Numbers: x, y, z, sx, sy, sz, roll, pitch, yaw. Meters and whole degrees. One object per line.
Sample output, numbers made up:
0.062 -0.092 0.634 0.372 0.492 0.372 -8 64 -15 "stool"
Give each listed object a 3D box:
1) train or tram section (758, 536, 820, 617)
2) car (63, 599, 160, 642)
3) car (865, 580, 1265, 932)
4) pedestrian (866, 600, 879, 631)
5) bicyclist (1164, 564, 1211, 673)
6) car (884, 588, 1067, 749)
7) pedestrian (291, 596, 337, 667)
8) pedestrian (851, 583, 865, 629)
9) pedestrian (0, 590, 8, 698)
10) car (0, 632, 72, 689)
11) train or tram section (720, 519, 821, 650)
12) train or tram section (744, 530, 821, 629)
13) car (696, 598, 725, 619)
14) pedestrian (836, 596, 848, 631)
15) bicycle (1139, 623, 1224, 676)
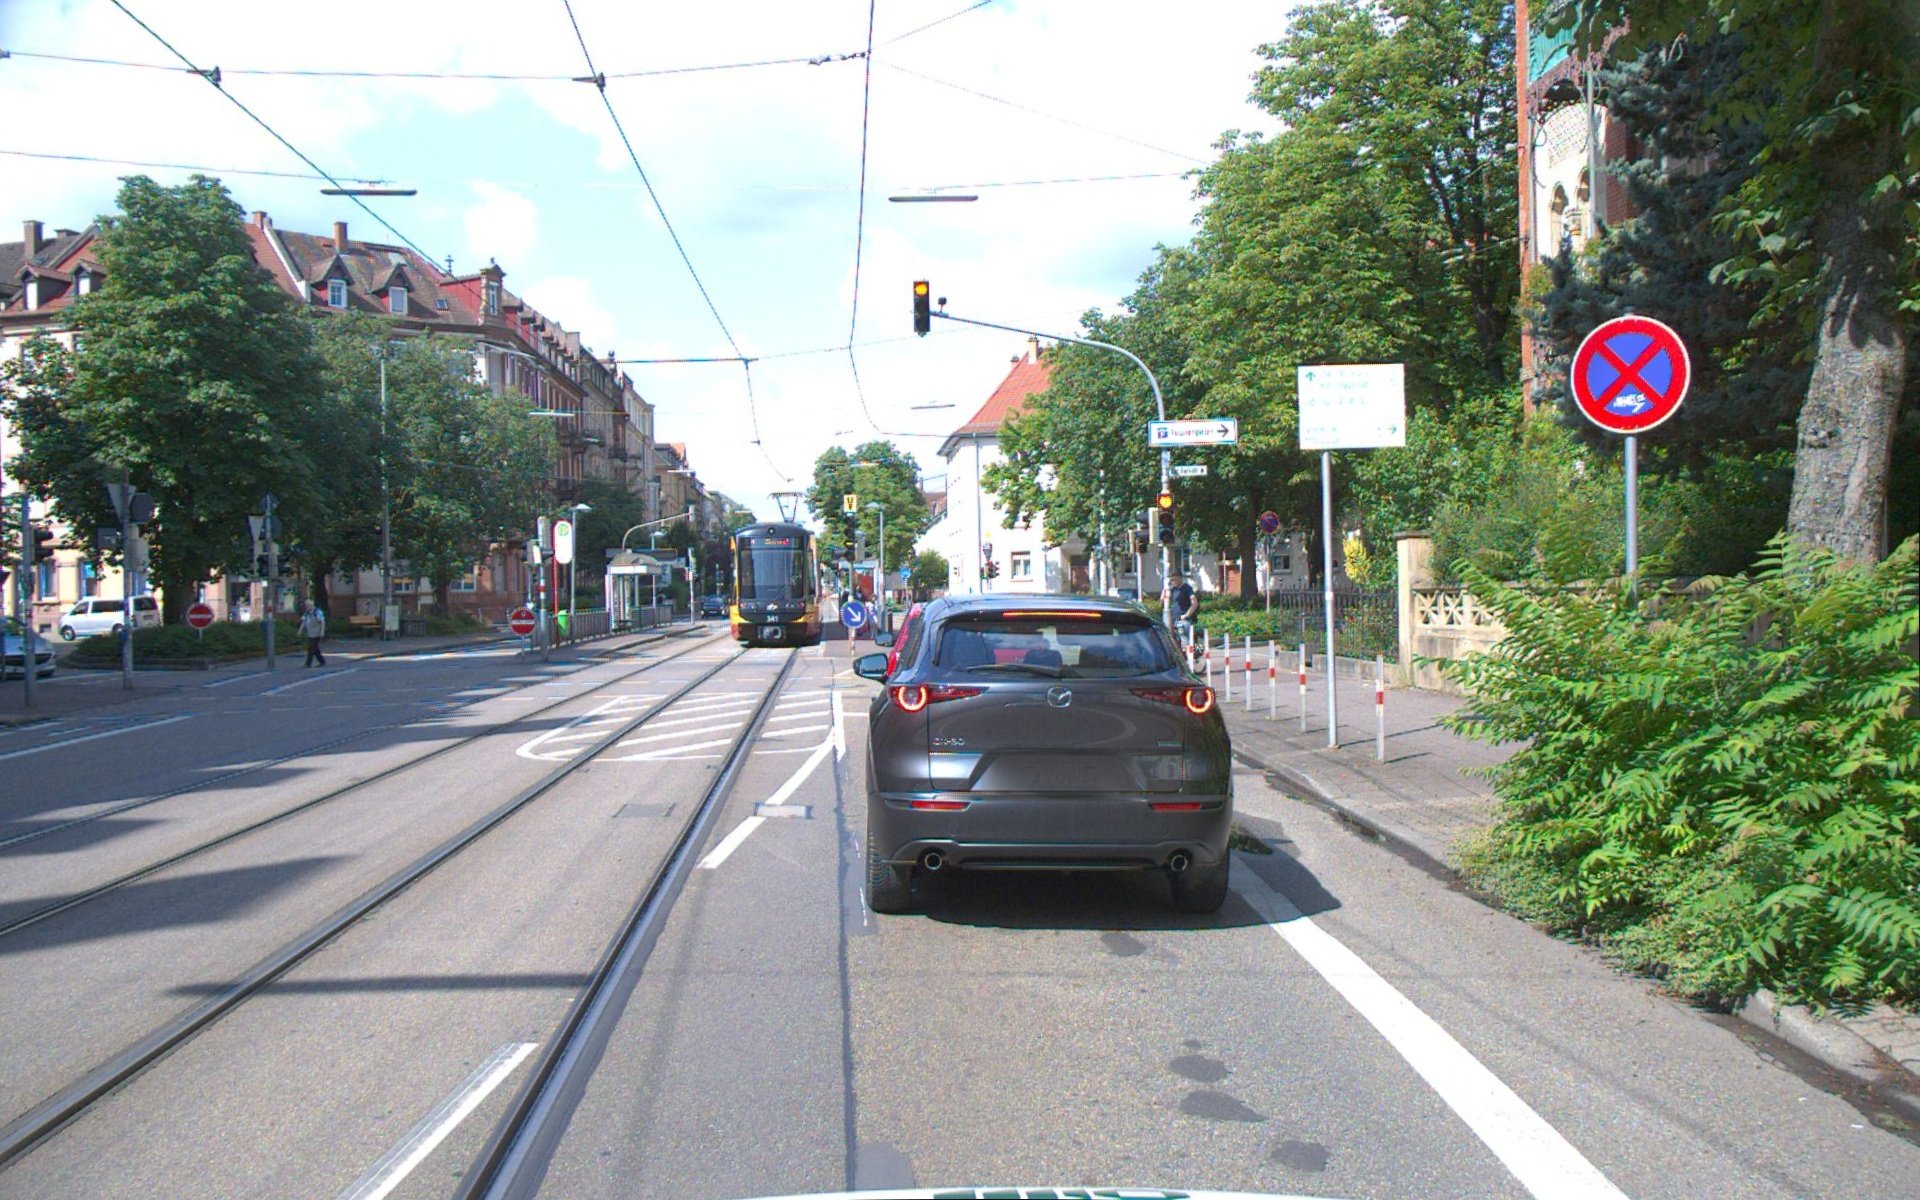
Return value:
-8.259 -1.214 81.335 2.699 3.551 14.394 -1 1 -5 "train or tram section"
-39.954 0.946 77.876 3.906 1.937 1.999 -1 0 23 "car"
0.421 0.676 9.271 1.742 1.526 3.999 1 0 -1 "car"
-2.844 0.491 53.873 0.372 1.001 0.474 -1 0 -6 "pedestrian"
3.901 0.311 28.351 0.597 1.824 0.656 -1 0 -11 "bicyclist"
0.103 0.644 17.872 1.742 1.526 3.999 1 0 -1 "car"
-15.990 0.778 40.955 0.804 1.735 0.719 -1 0 4 "pedestrian"
-3.314 0.194 53.712 0.441 1.459 0.474 -1 0 -6 "pedestrian"
-16.162 0.738 27.165 0.671 1.785 0.799 -1 0 -12 "pedestrian"
-22.358 1.361 38.109 3.916 1.203 1.674 -1 0 33 "car"
-5.823 -0.592 52.679 2.699 3.551 14.394 -1 1 -5 "train or tram section"
-7.039 -0.898 67.006 2.699 3.551 14.394 -1 1 -5 "train or tram section"
-16.506 0.540 109.557 1.583 1.333 3.624 -1 0 -4 "car"
-3.810 0.433 53.470 0.372 1.089 0.474 -1 0 -6 "pedestrian"
3.836 0.847 28.618 1.685 0.838 0.487 -1 0 -43 "bicycle"
